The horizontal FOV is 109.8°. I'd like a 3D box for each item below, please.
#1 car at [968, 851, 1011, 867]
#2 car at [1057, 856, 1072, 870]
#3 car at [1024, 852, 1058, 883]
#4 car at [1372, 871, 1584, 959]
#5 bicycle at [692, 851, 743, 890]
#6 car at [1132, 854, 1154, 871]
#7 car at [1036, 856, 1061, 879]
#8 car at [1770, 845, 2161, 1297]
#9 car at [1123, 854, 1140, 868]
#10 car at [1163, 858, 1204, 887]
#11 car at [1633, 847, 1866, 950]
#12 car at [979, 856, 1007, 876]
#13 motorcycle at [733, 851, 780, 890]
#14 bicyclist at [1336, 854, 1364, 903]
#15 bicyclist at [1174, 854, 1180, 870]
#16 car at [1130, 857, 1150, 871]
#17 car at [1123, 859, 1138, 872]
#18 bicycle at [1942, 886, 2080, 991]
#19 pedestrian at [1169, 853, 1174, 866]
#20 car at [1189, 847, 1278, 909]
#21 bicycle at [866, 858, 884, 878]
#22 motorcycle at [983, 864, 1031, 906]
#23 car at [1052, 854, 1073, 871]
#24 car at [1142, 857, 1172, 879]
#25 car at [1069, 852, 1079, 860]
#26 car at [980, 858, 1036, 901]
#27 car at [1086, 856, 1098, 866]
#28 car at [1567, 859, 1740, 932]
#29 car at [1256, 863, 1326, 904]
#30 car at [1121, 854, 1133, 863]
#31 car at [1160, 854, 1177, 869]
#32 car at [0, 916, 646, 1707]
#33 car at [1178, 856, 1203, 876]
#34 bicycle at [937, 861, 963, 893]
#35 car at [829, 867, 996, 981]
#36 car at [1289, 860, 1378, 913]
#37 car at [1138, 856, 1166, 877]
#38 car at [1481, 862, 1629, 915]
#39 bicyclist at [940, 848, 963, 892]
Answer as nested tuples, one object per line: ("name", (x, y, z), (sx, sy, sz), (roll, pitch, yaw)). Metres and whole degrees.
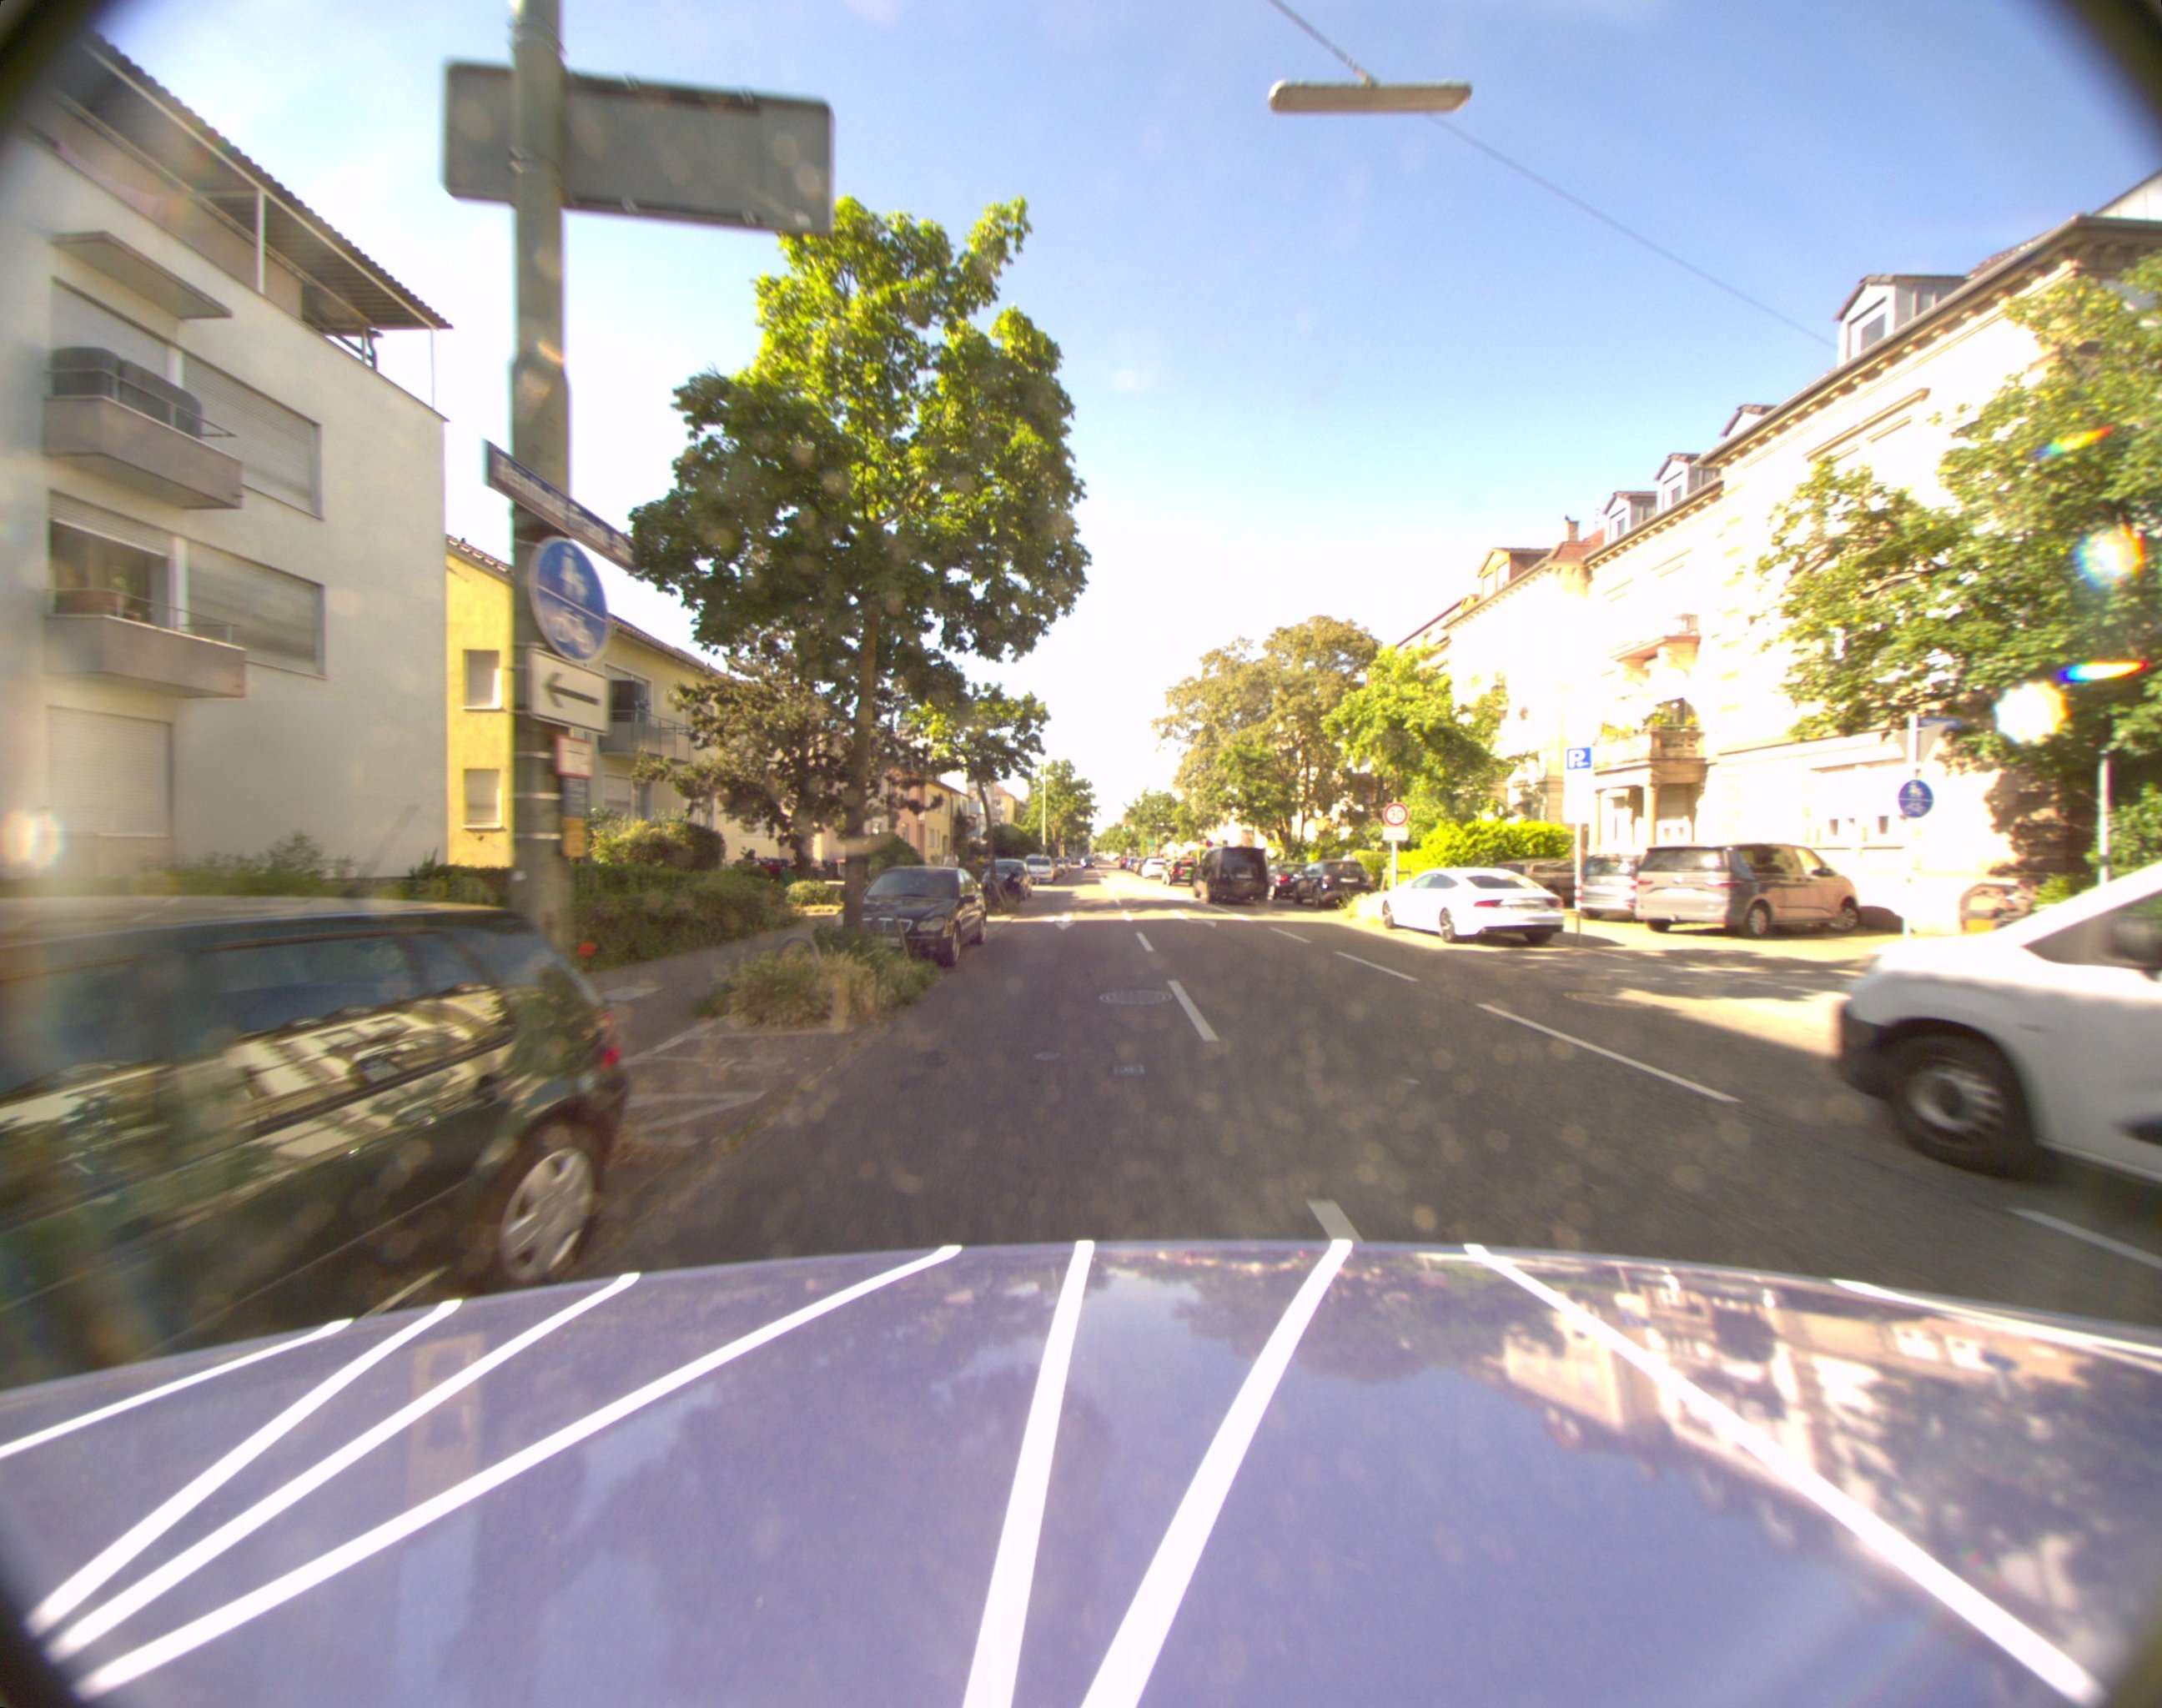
("car", (-9.257, 0.500, 77.014), (3.997, 1.432, 1.831), (4, 0, 1))
("car", (-1.840, 1.018, 84.842), (1.571, 1.448, 3.865), (2, 0, 0))
("car", (-2.289, 0.744, 44.154), (1.773, 1.649, 4.340), (1, 0, -1))
("car", (7.773, 1.110, 15.515), (1.838, 1.381, 4.802), (-1, 0, 0))
("bicycle", (-12.902, 0.556, 27.054), (0.599, 1.296, 2.426), (1, 0, 1))
("car", (5.647, 0.767, 69.684), (1.585, 1.443, 3.744), (1, 0, -2))
("car", (-2.158, 0.898, 51.191), (1.536, 1.441, 3.717), (1, 0, -1))
("car", (5.086, 0.873, 2.319), (1.820, 1.732, 4.493), (2, 0, 0))
("car", (5.707, 0.771, 85.968), (1.660, 1.508, 4.076), (3, 0, 1))
("car", (5.697, 1.025, 42.741), (1.696, 1.445, 4.173), (3, 0, 0))
("car", (13.786, 0.824, 15.677), (4.333, 1.868, 1.876), (0, 0, -22))
("car", (-6.389, 0.832, 55.324), (1.535, 1.348, 3.718), (3, 0, 1))
("motorcycle", (-11.937, 0.590, 28.033), (0.638, 1.367, 2.426), (1, 0, 1))
("bicyclist", (10.125, 0.906, 28.601), (0.660, 1.813, 1.055), (1, 1, 1))
("bicyclist", (10.887, 0.920, 86.341), (0.610, 1.744, 0.691), (0, 1, 1))
("car", (6.100, 1.027, 78.594), (1.639, 1.395, 3.735), (2, 0, -1))
("car", (6.412, 1.522, 98.982), (1.726, 1.607, 4.300), (3, 0, 2))
("bicycle", (14.167, 1.199, 11.539), (3.181, 1.255, 0.949), (-1, 3, -33))
("pedestrian", (10.885, 0.667, 91.170), (0.470, 1.641, 0.719), (-1, 1, 1))
("car", (5.246, 0.775, 26.939), (2.021, 1.940, 5.178), (2, 0, 0))
("bicycle", (-11.178, 0.739, 41.360), (0.456, 0.987, 1.743), (3, 1, 1))
("motorcycle", (-2.458, 0.986, 25.042), (0.701, 1.264, 2.426), (2, 0, -27))
("car", (-1.661, 0.742, 67.796), (1.653, 1.395, 3.970), (2, 0, 1))
("car", (5.418, 0.989, 54.814), (1.737, 1.404, 4.192), (3, 0, 1))
("car", (-1.292, 0.316, 144.849), (1.822, 1.541, 4.304), (1, 0, 1))
("car", (-2.689, 0.905, 28.799), (1.624, 1.490, 3.649), (1, 0, 2))
("car", (1.593, 0.966, 106.420), (1.654, 1.348, 4.304), (1, 0, 1))
("car", (14.142, 0.954, 18.770), (3.925, 1.635, 1.677), (0, 0, -23))
("car", (8.205, 1.113, 30.030), (1.641, 1.408, 4.090), (-2, 0, 1))
("car", (7.703, 0.667, 127.526), (1.702, 1.398, 4.506), (3, 0, 0))
("car", (8.756, 0.768, 75.968), (1.404, 1.480, 3.686), (0, 0, 2))
("car", (-2.781, 0.993, 1.196), (1.696, 1.419, 4.148), (1, 0, 2))
("car", (8.474, 0.931, 59.037), (1.605, 1.468, 3.932), (-1, 0, 2))
("bicycle", (-5.391, 0.927, 31.365), (0.699, 1.239, 1.822), (1, 0, 1))
("car", (-2.492, 0.974, 12.328), (1.590, 1.387, 4.454), (2, 0, 1))
("car", (8.147, 1.005, 24.837), (1.682, 1.545, 4.008), (0, 0, 2))
("car", (5.782, 0.981, 62.381), (1.841, 1.604, 4.400), (2, 0, 0))
("car", (14.430, 0.995, 23.178), (3.923, 1.480, 1.630), (0, 0, -16))
("bicyclist", (-5.350, 0.640, 31.371), (0.726, 1.783, 1.015), (1, 0, 1))
